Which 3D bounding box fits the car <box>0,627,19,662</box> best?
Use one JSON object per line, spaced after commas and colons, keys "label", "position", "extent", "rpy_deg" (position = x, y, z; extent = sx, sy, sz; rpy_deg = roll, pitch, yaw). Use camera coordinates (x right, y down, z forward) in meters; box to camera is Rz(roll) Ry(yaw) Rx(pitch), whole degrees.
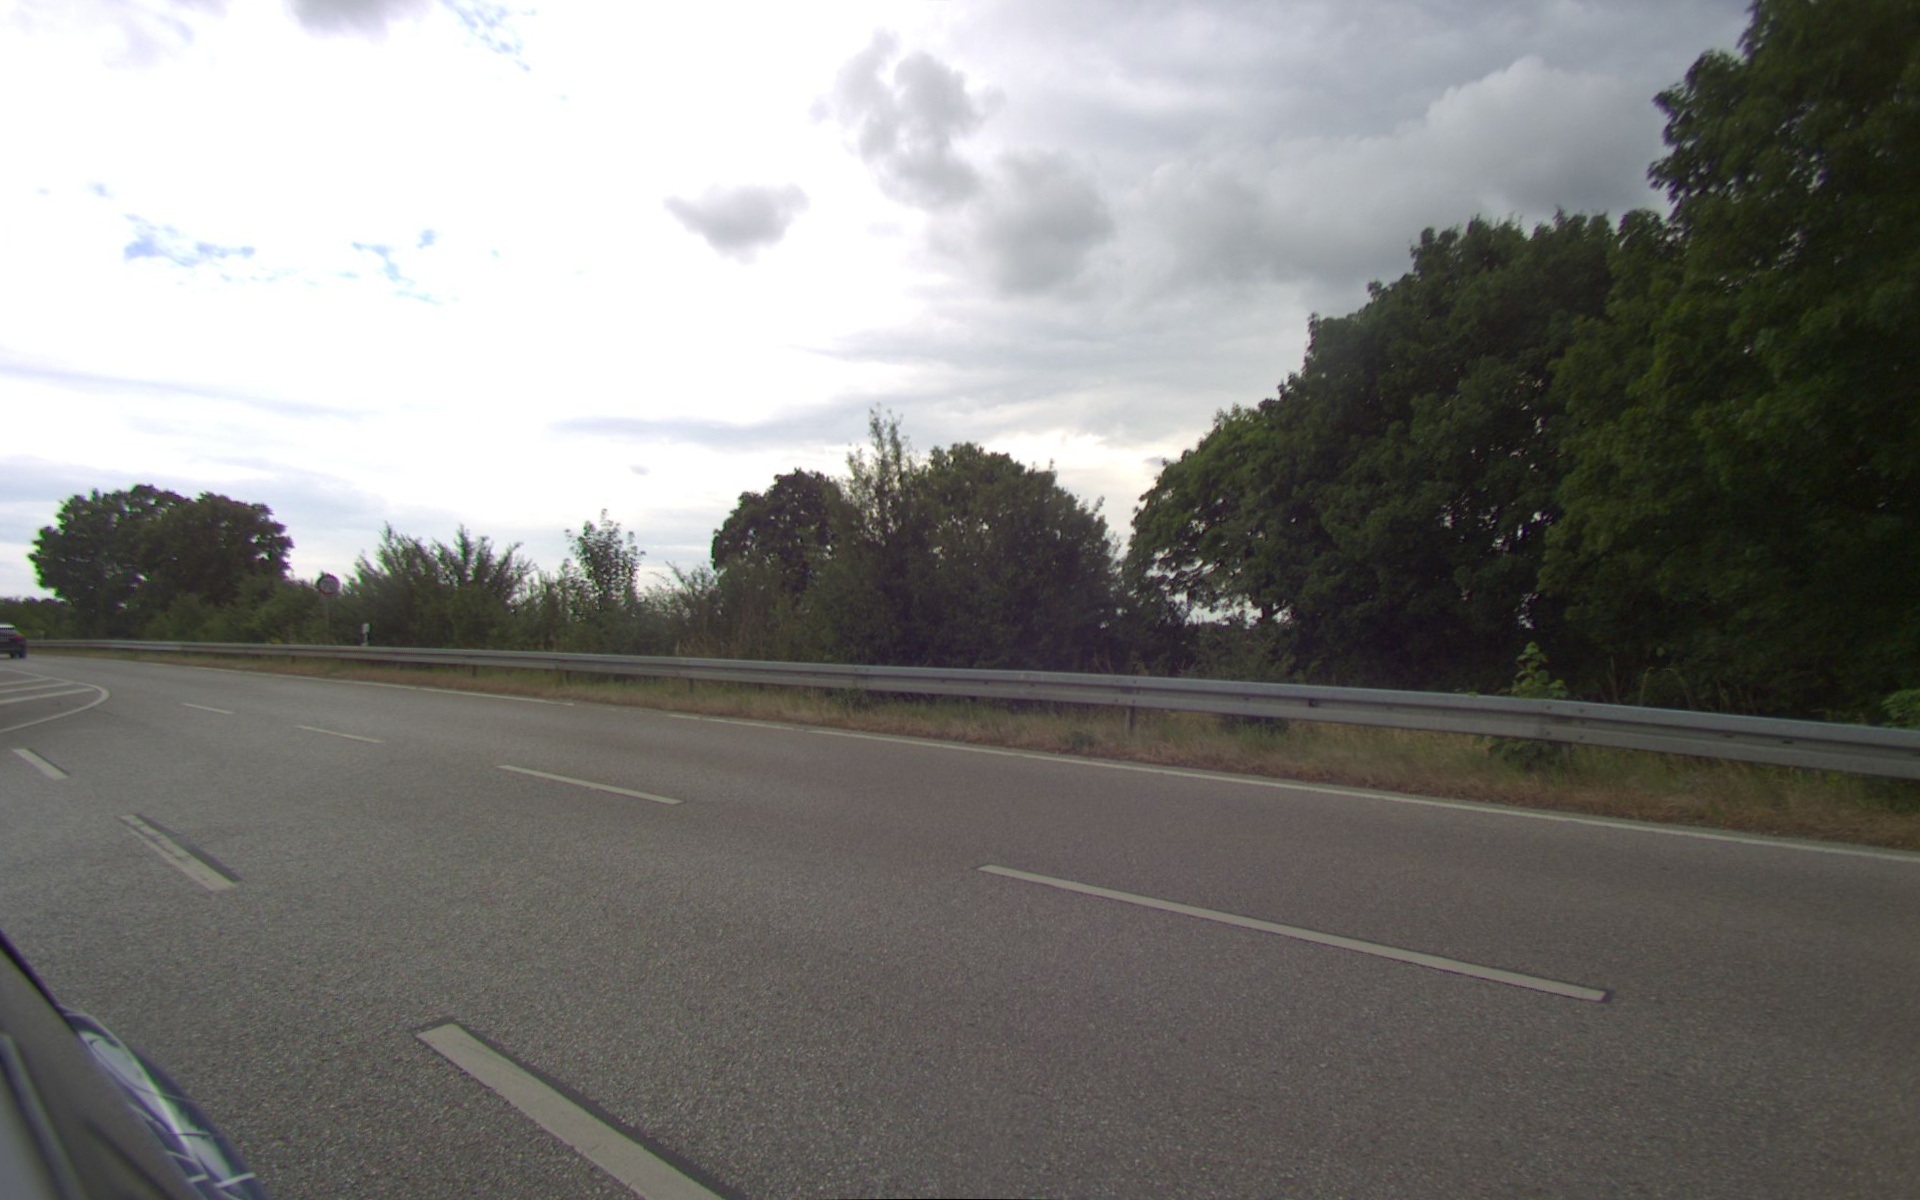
{"label": "car", "position": [-43.549, 1.974, 45.291], "extent": [3.998, 1.534, 1.693], "rpy_deg": [-1, -1, 41]}
